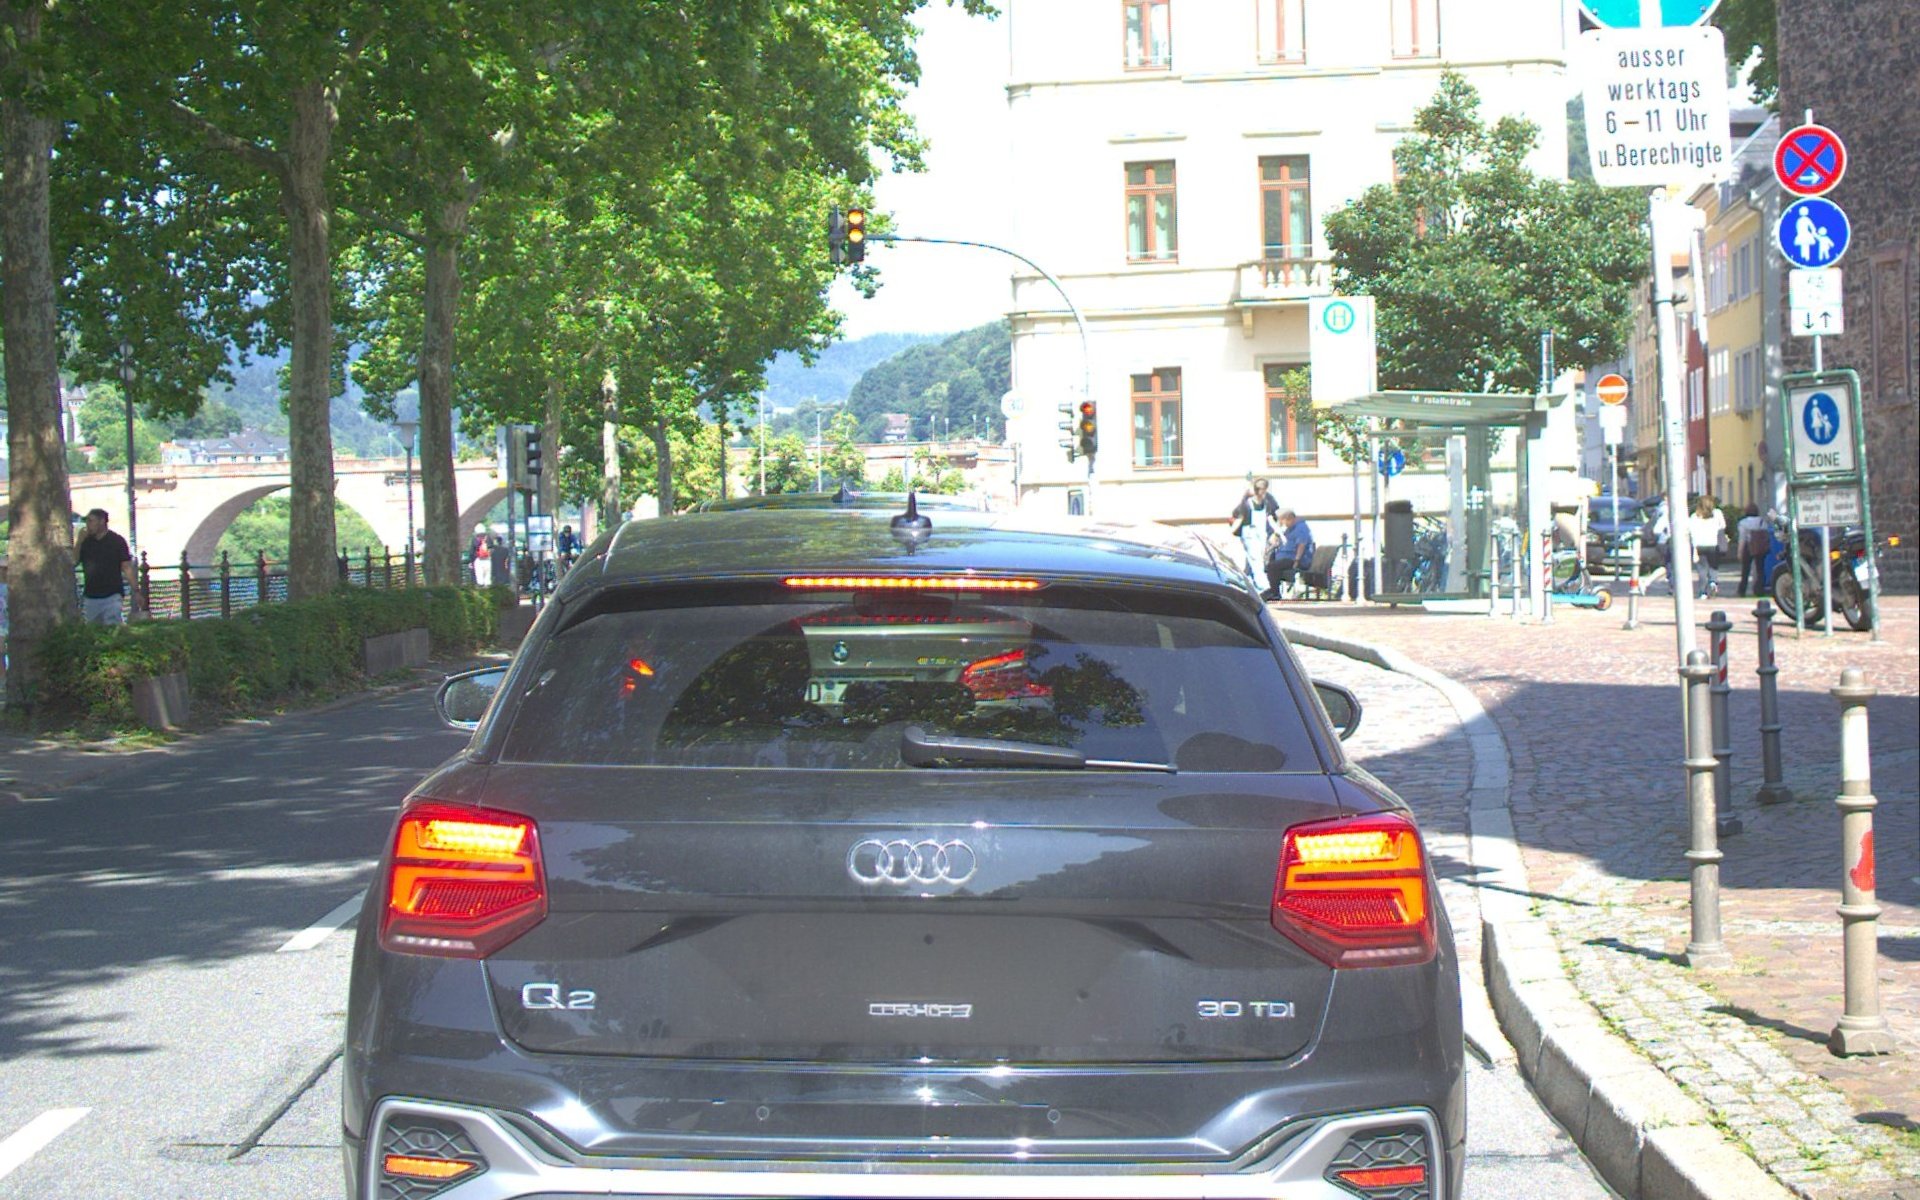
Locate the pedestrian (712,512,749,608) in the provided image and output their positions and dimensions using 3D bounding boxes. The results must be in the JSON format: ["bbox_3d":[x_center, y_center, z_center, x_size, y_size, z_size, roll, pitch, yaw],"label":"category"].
[{"bbox_3d":[-3.715,-0.647,55.682,0.557,1.552,0.660,0,1,0],"label":"pedestrian"}]

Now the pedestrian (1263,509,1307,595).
[{"bbox_3d":[4.561,-0.674,48.238,0.546,1.197,0.522,1,1,1],"label":"pedestrian"}]

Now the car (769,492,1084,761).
[{"bbox_3d":[-0.205,0.113,22.167,1.801,1.518,3.716,-2,1,0],"label":"car"}]

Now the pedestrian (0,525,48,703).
[{"bbox_3d":[-9.280,0.128,33.455,0.645,1.711,0.665,1,1,-3],"label":"pedestrian"}]

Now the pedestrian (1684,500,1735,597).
[{"bbox_3d":[11.802,-0.808,54.123,0.658,1.512,0.548,1,1,1],"label":"pedestrian"}]

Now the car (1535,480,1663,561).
[{"bbox_3d":[14.049,-1.744,75.776,1.993,1.710,4.000,1,1,-1],"label":"car"}]

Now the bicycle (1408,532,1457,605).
[{"bbox_3d":[6.483,-0.440,47.217,0.450,0.971,1.400,1,1,0],"label":"bicycle"}]

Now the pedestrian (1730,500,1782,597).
[{"bbox_3d":[12.522,-0.812,54.117,0.658,1.512,0.627,1,1,1],"label":"pedestrian"}]

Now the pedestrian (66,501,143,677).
[{"bbox_3d":[-8.589,-0.117,34.549,0.563,1.735,0.665,-2,1,-3],"label":"pedestrian"}]

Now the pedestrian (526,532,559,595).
[{"bbox_3d":[-8.474,-0.743,69.816,0.591,1.274,0.525,1,1,0],"label":"pedestrian"}]

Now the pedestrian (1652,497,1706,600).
[{"bbox_3d":[10.506,-0.755,50.271,0.658,1.488,0.548,1,1,1],"label":"pedestrian"}]

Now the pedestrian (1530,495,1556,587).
[{"bbox_3d":[10.405,-1.057,61.340,0.371,1.629,0.467,1,1,17],"label":"pedestrian"}]

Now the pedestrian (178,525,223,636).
[{"bbox_3d":[-10.733,-0.280,48.577,0.497,1.532,0.680,-2,1,-7],"label":"pedestrian"}]

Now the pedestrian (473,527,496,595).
[{"bbox_3d":[-10.043,-0.818,72.582,0.409,1.420,0.457,1,1,-2],"label":"pedestrian"}]

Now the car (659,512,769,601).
[{"bbox_3d":[-4.437,-0.809,62.467,1.615,1.518,3.476,-2,1,1],"label":"car"}]

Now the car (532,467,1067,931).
[{"bbox_3d":[-0.559,0.307,13.582,1.801,1.557,3.716,1,1,0],"label":"car"}]

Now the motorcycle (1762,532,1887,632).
[{"bbox_3d":[7.567,-0.176,30.186,0.483,0.815,2.280,-2,1,0],"label":"motorcycle"}]

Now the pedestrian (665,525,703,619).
[{"bbox_3d":[-4.569,-0.469,56.976,0.557,1.552,0.660,0,1,0],"label":"pedestrian"}]

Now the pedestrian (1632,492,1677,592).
[{"bbox_3d":[11.431,-0.957,56.581,0.546,1.629,0.660,1,1,-3],"label":"pedestrian"}]

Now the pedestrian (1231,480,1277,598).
[{"bbox_3d":[3.908,-0.809,45.718,0.557,1.552,0.660,0,1,0],"label":"pedestrian"}]

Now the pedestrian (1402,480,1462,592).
[{"bbox_3d":[6.648,-0.902,48.448,0.747,1.552,0.588,0,1,1],"label":"pedestrian"}]

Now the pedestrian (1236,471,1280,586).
[{"bbox_3d":[4.239,-1.012,48.933,0.557,1.627,0.660,0,1,0],"label":"pedestrian"}]

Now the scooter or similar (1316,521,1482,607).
[{"bbox_3d":[5.066,-0.420,39.749,1.845,0.960,0.429,1,1,-1],"label":"scooter or similar"}]

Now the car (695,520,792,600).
[{"bbox_3d":[-4.376,-0.826,69.821,1.615,1.518,3.476,-2,1,1],"label":"car"}]

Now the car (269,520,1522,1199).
[{"bbox_3d":[-0.146,0.600,6.639,1.748,1.489,3.629,1,1,-2],"label":"car"}]

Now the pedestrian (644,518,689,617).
[{"bbox_3d":[-4.786,-0.534,56.062,0.546,1.595,0.660,1,1,11],"label":"pedestrian"}]
